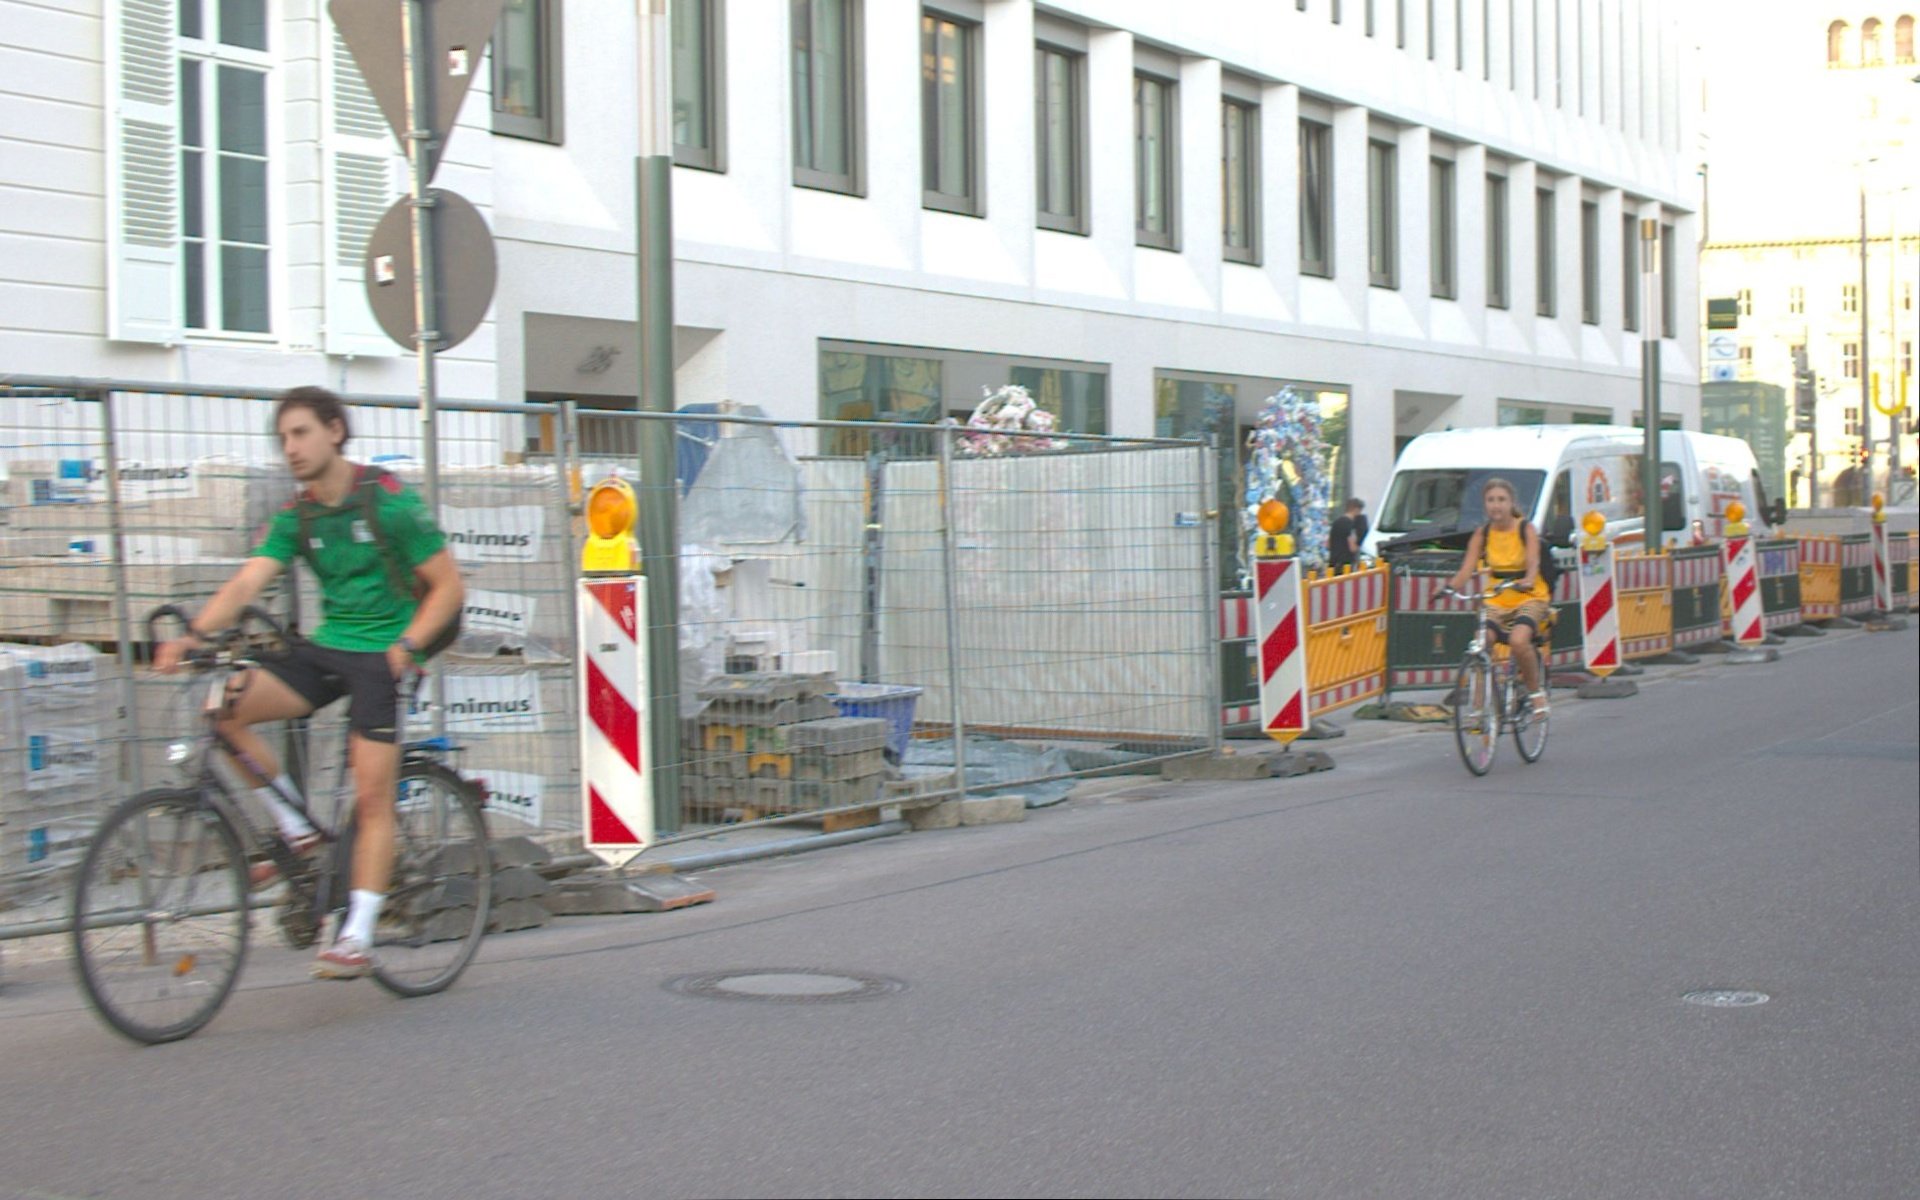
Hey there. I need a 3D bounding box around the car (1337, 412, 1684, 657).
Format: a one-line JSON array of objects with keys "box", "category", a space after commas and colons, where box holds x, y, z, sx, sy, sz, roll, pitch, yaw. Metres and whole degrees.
[{"box": [6.163, -0.750, 37.759, 2.176, 2.461, 5.991, 1, 2, 25], "category": "car"}]

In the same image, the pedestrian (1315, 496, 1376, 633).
[{"box": [4.455, -0.411, 39.728, 0.543, 1.572, 0.578, 0, 1, 23], "category": "pedestrian"}]

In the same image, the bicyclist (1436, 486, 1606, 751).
[{"box": [3.343, 0.090, 20.426, 0.797, 1.527, 0.973, 0, 2, 22], "category": "bicyclist"}]

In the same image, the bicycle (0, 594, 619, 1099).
[{"box": [-1.840, 0.622, 9.862, 0.797, 1.213, 2.231, 0, 2, 21], "category": "bicycle"}]

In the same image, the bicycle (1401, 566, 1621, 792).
[{"box": [3.293, 0.430, 20.357, 0.797, 1.213, 2.231, 0, 2, 22], "category": "bicycle"}]

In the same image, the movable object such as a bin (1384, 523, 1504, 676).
[{"box": [4.778, -0.024, 33.887, 1.044, 1.461, 1.393, 0, 2, 13], "category": "movable object such as a bin"}]

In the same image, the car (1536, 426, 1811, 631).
[{"box": [9.327, -0.955, 44.494, 2.176, 2.461, 5.991, 0, 2, 25], "category": "car"}]

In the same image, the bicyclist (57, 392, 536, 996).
[{"box": [-1.861, 0.231, 9.803, 0.797, 1.597, 1.229, 0, 2, 21], "category": "bicyclist"}]
